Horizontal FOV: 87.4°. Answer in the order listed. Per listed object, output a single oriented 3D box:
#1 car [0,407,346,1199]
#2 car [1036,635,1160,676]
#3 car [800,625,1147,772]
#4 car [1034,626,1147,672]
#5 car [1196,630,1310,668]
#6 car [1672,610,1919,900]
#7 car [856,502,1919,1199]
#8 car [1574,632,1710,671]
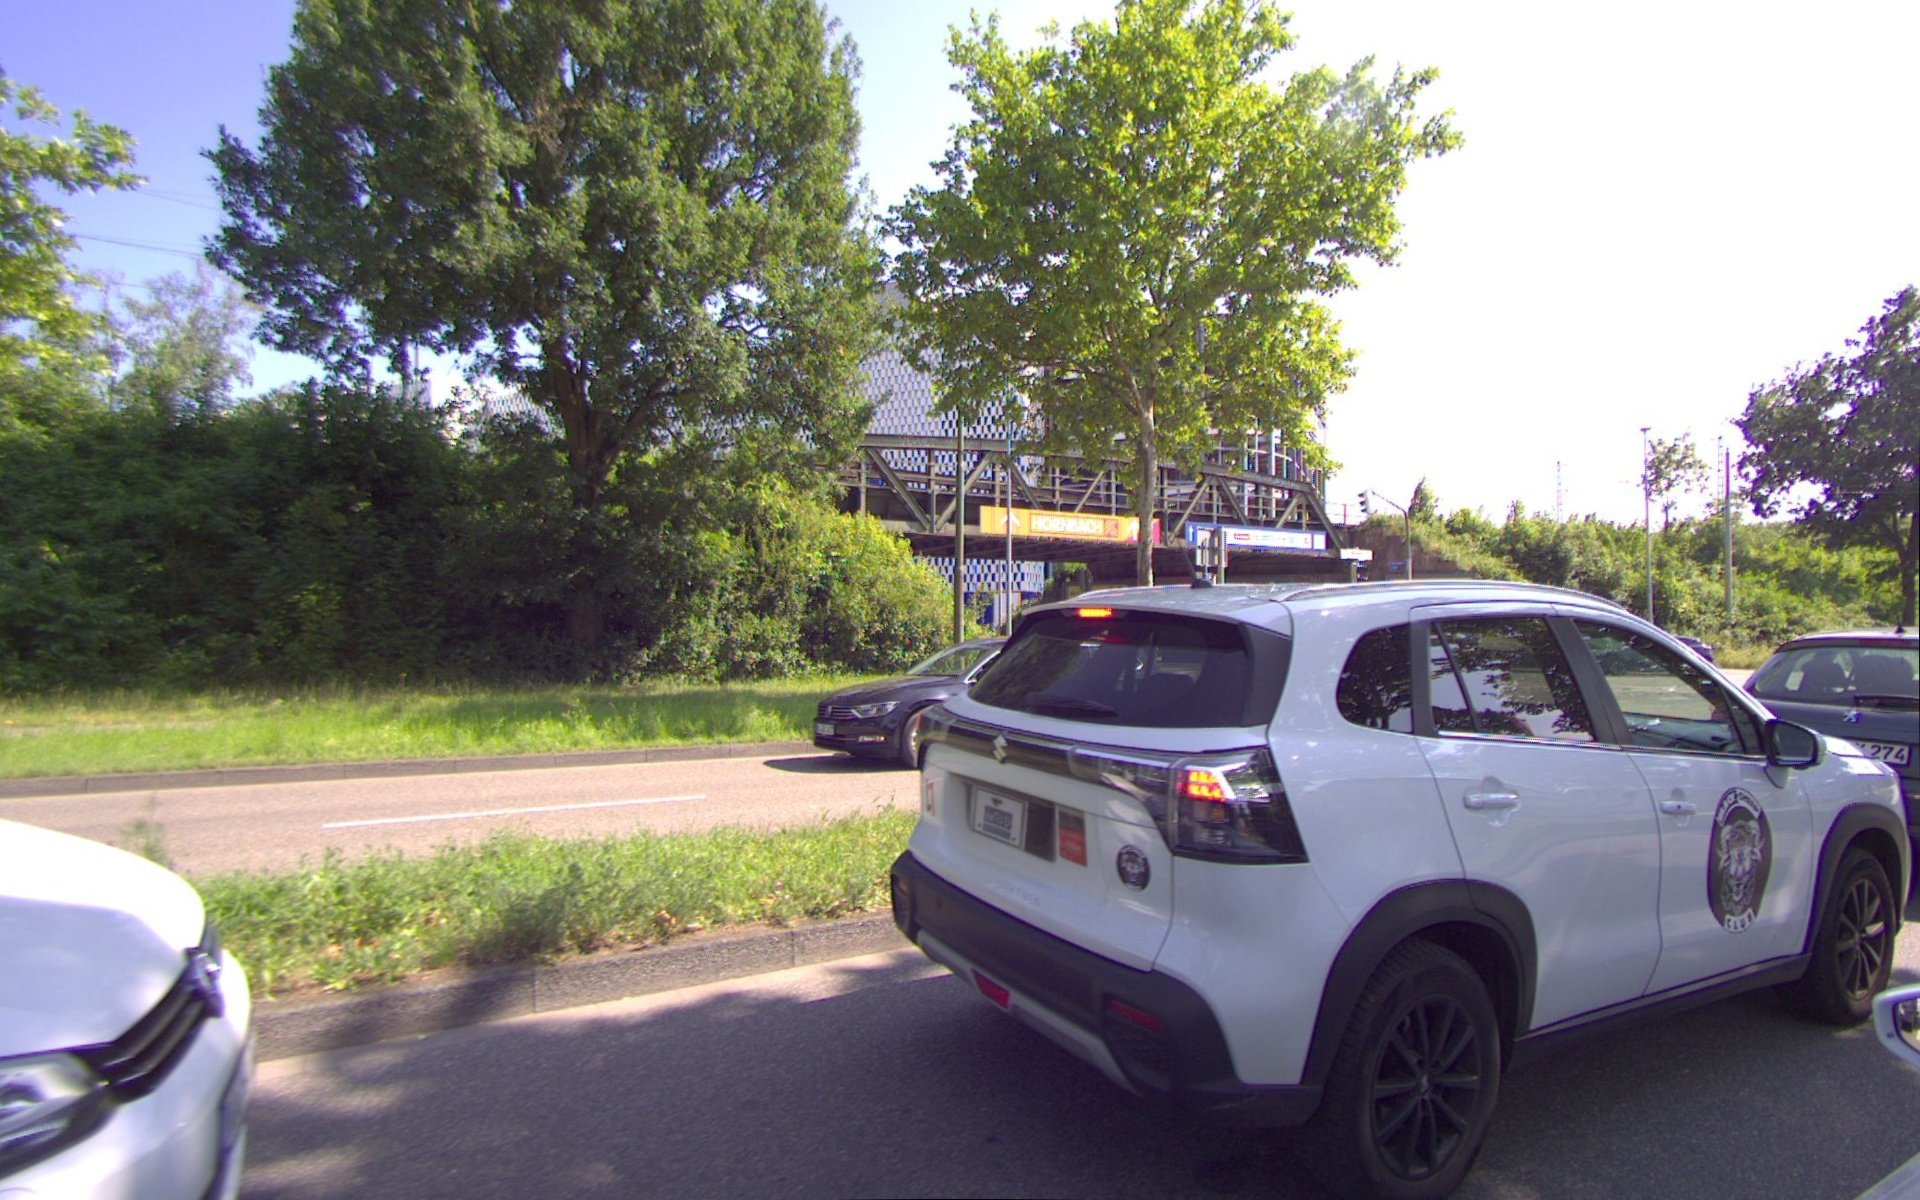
[{"bbox_3d":[-3.233,0.561,1.061,4.300,1.669,1.763,2,-1,-30],"label":"car"},{"bbox_3d":[4.856,1.920,35.398,3.927,1.363,1.880,-1,-2,28],"label":"car"},{"bbox_3d":[0.266,1.099,12.321,4.123,1.505,1.724,2,-3,-39],"label":"car"},{"bbox_3d":[5.181,1.911,39.800,4.055,1.754,1.880,-1,-2,28],"label":"car"},{"bbox_3d":[11.848,1.960,40.660,4.250,1.445,1.485,-1,-2,26],"label":"car"},{"bbox_3d":[6.605,0.866,6.629,3.840,1.525,1.683,1,0,-30],"label":"car"},{"bbox_3d":[1.816,0.690,3.810,4.036,1.669,1.763,2,-1,-30],"label":"car"},{"bbox_3d":[26.327,1.981,38.943,3.952,1.437,2.000,-1,-2,20],"label":"car"}]
